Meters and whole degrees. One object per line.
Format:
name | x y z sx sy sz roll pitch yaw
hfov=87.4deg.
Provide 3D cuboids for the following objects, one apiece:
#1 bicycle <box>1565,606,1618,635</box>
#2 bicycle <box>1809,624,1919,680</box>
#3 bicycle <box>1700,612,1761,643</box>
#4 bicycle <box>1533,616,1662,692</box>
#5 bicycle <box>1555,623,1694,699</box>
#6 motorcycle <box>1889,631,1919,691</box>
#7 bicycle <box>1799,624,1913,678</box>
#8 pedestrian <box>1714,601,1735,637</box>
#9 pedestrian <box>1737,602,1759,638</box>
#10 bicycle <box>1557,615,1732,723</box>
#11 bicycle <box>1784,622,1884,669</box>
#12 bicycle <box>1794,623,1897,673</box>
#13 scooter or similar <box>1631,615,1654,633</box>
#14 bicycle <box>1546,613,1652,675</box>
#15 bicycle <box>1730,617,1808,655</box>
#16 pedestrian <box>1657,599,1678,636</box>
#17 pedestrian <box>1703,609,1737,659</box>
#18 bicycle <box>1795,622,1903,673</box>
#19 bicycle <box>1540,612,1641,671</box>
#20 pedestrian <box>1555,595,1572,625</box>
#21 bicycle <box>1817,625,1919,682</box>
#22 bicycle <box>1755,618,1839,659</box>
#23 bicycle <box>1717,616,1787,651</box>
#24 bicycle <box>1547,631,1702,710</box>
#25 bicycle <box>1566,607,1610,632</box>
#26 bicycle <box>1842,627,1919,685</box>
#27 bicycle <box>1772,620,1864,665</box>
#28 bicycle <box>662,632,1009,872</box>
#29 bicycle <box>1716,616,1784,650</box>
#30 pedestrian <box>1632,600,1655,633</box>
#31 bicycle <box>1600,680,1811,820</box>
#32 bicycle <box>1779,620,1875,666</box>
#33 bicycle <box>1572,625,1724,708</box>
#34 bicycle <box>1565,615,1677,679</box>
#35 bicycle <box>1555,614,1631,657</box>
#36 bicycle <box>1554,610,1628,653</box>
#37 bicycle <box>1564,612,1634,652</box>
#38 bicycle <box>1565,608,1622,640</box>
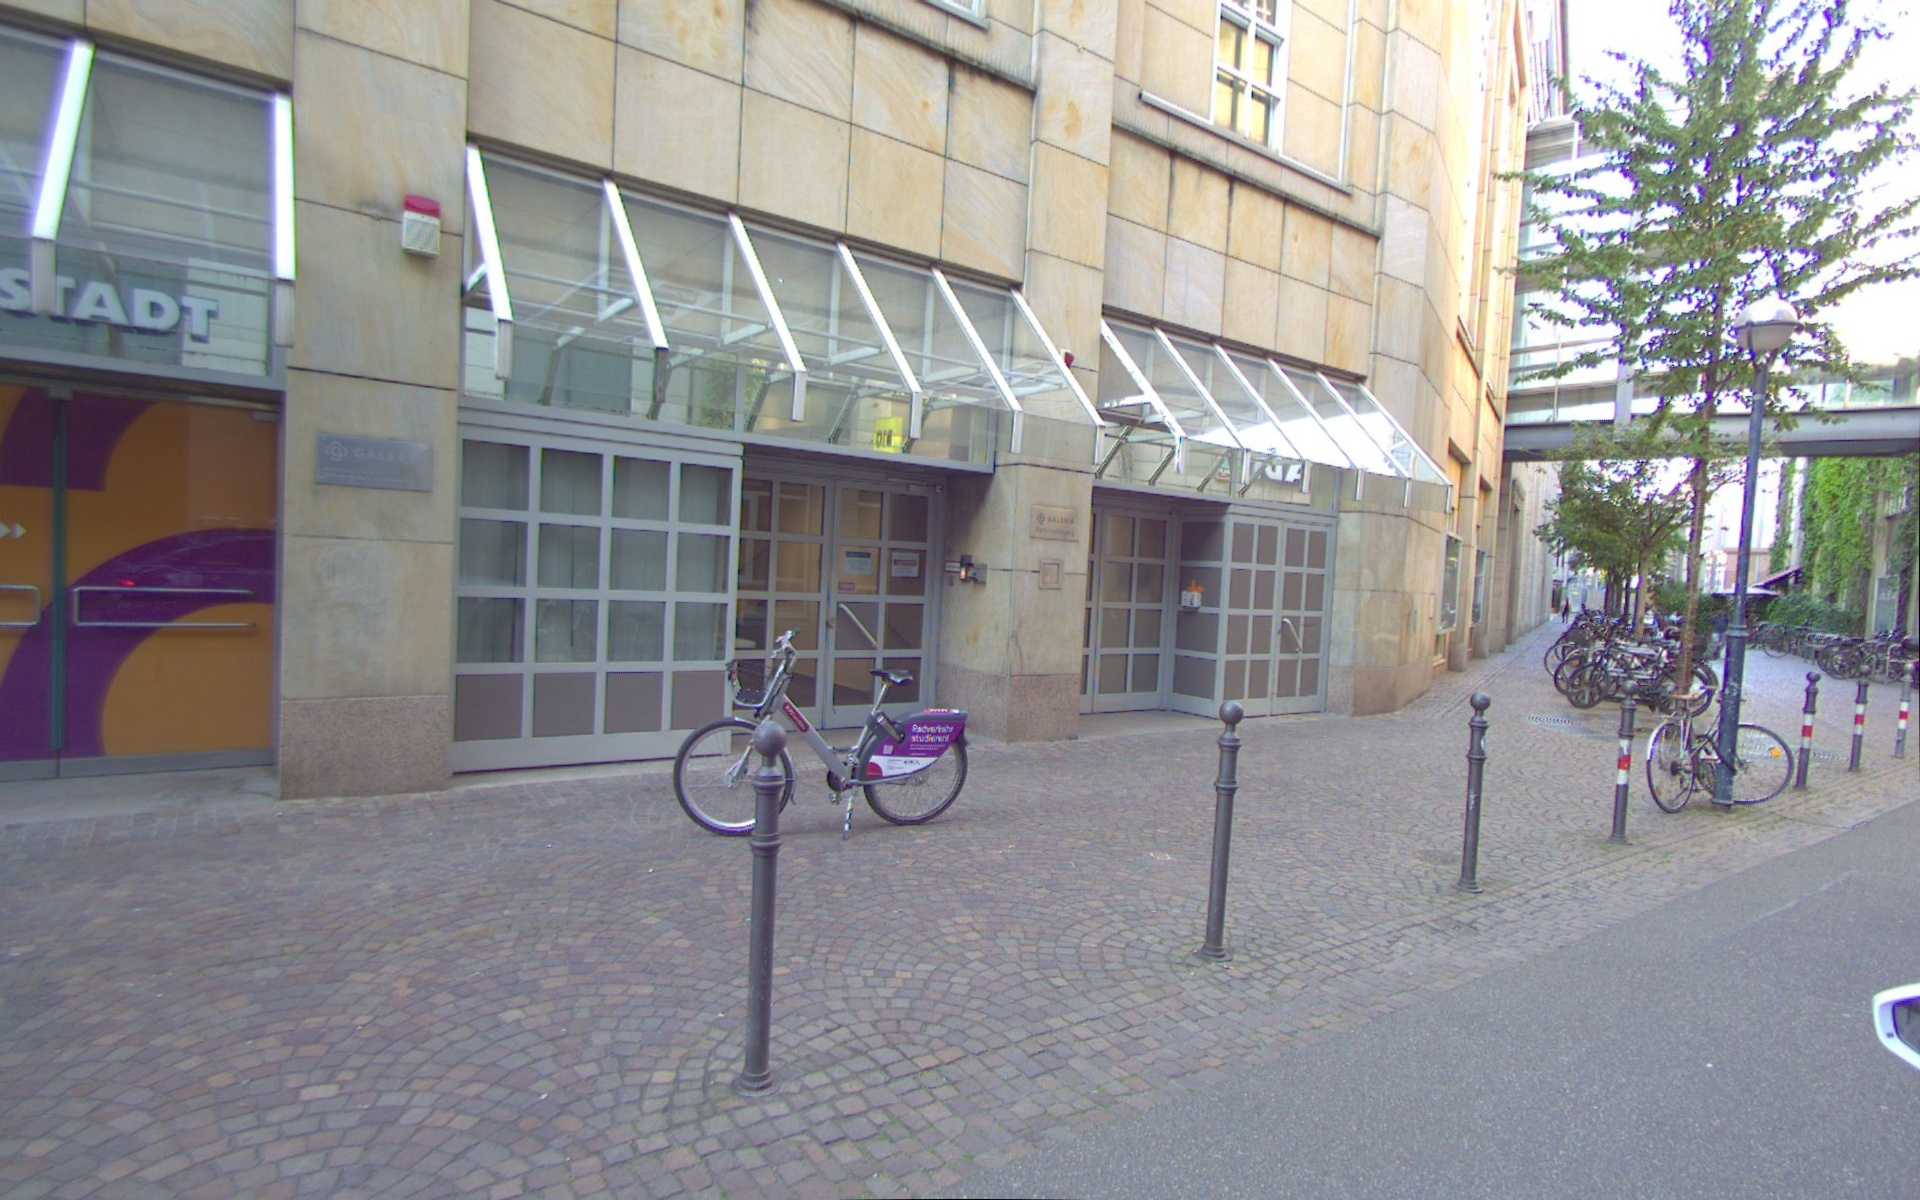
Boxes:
bicycle | 28.350 0.900 45.095 1.889 1.198 0.693 4 2 37
bicycle | 21.393 1.197 23.702 1.967 1.198 0.800 1 1 35
bicycle | 32.489 1.152 42.398 1.967 1.198 0.692 1 1 35
bicycle | 11.610 0.953 18.331 1.889 1.198 0.693 4 2 37
bicycle | 11.339 1.012 17.175 1.889 1.116 0.693 4 2 37
motorcycle | 19.815 1.255 20.091 1.724 1.171 0.592 2 1 37
bicycle | 22.028 1.229 24.744 1.967 1.198 0.800 1 1 35
pedestrian | 40.447 0.998 53.130 0.764 1.828 0.765 4 2 35
pedestrian | 41.063 1.049 52.333 0.764 1.828 0.765 4 2 35
bicycle | 9.409 0.910 13.884 1.887 1.278 0.806 4 2 34
bicycle | 24.009 1.229 27.635 1.967 1.198 0.692 1 1 35
bicycle | 23.556 1.262 26.764 1.967 1.198 0.692 1 1 35
scooter or similar | 35.144 1.227 51.734 0.879 0.854 0.909 3 2 32
bicycle | 14.166 0.950 22.304 1.889 1.198 0.693 4 2 37
bicycle | 27.350 1.194 34.008 1.967 1.198 0.692 1 1 35
pedestrian | 36.177 0.871 51.348 0.754 1.828 0.775 3 2 32
pedestrian | 24.109 1.056 31.868 0.737 1.529 0.636 3 2 32
bicycle | 22.925 1.213 25.965 1.967 1.198 0.800 1 1 35
bicycle | 14.663 0.938 23.383 1.889 1.198 0.693 4 2 37
pedestrian | 38.293 0.621 63.732 0.764 1.828 0.632 3 2 35
bicycle | 20.891 1.209 22.903 1.967 1.198 0.694 1 1 35
bicycle | 26.593 1.196 31.973 1.967 1.198 0.692 1 1 35
bicycle | 29.543 1.237 37.492 1.967 1.198 0.692 1 1 35
bicycle | 10.094 1.041 15.329 1.887 1.007 0.694 4 2 34
bicycle | 33.681 1.048 53.892 1.889 1.198 0.693 4 2 37
bicycle | 20.583 1.225 21.871 1.967 1.198 0.694 1 1 35
bicycle | 25.335 1.238 29.714 1.967 1.198 0.692 1 1 35
bicycle | -0.689 0.775 5.523 1.750 1.127 0.692 2 1 -22
bicycle | 30.026 1.227 38.198 1.967 1.198 0.692 1 1 35
pedestrian | 35.673 0.844 52.446 0.879 1.661 0.909 3 2 32
bicycle | 5.912 1.153 7.961 1.670 0.979 0.504 2 2 -22
bicycle | 24.744 1.213 28.713 1.967 1.198 0.692 1 1 35
bicycle | 10.824 1.012 15.874 1.887 1.116 0.694 4 2 34
bicycle | 13.993 0.971 21.287 1.889 1.198 0.693 4 2 37
bicycle | 19.478 1.073 30.938 1.889 1.198 0.693 4 2 37
bicycle | 19.912 0.972 31.709 1.889 1.198 0.693 4 2 37
bicycle | 21.669 1.068 34.083 1.889 1.198 0.693 4 2 37
bicycle | 26.059 0.962 41.337 1.889 1.198 0.693 4 2 37
